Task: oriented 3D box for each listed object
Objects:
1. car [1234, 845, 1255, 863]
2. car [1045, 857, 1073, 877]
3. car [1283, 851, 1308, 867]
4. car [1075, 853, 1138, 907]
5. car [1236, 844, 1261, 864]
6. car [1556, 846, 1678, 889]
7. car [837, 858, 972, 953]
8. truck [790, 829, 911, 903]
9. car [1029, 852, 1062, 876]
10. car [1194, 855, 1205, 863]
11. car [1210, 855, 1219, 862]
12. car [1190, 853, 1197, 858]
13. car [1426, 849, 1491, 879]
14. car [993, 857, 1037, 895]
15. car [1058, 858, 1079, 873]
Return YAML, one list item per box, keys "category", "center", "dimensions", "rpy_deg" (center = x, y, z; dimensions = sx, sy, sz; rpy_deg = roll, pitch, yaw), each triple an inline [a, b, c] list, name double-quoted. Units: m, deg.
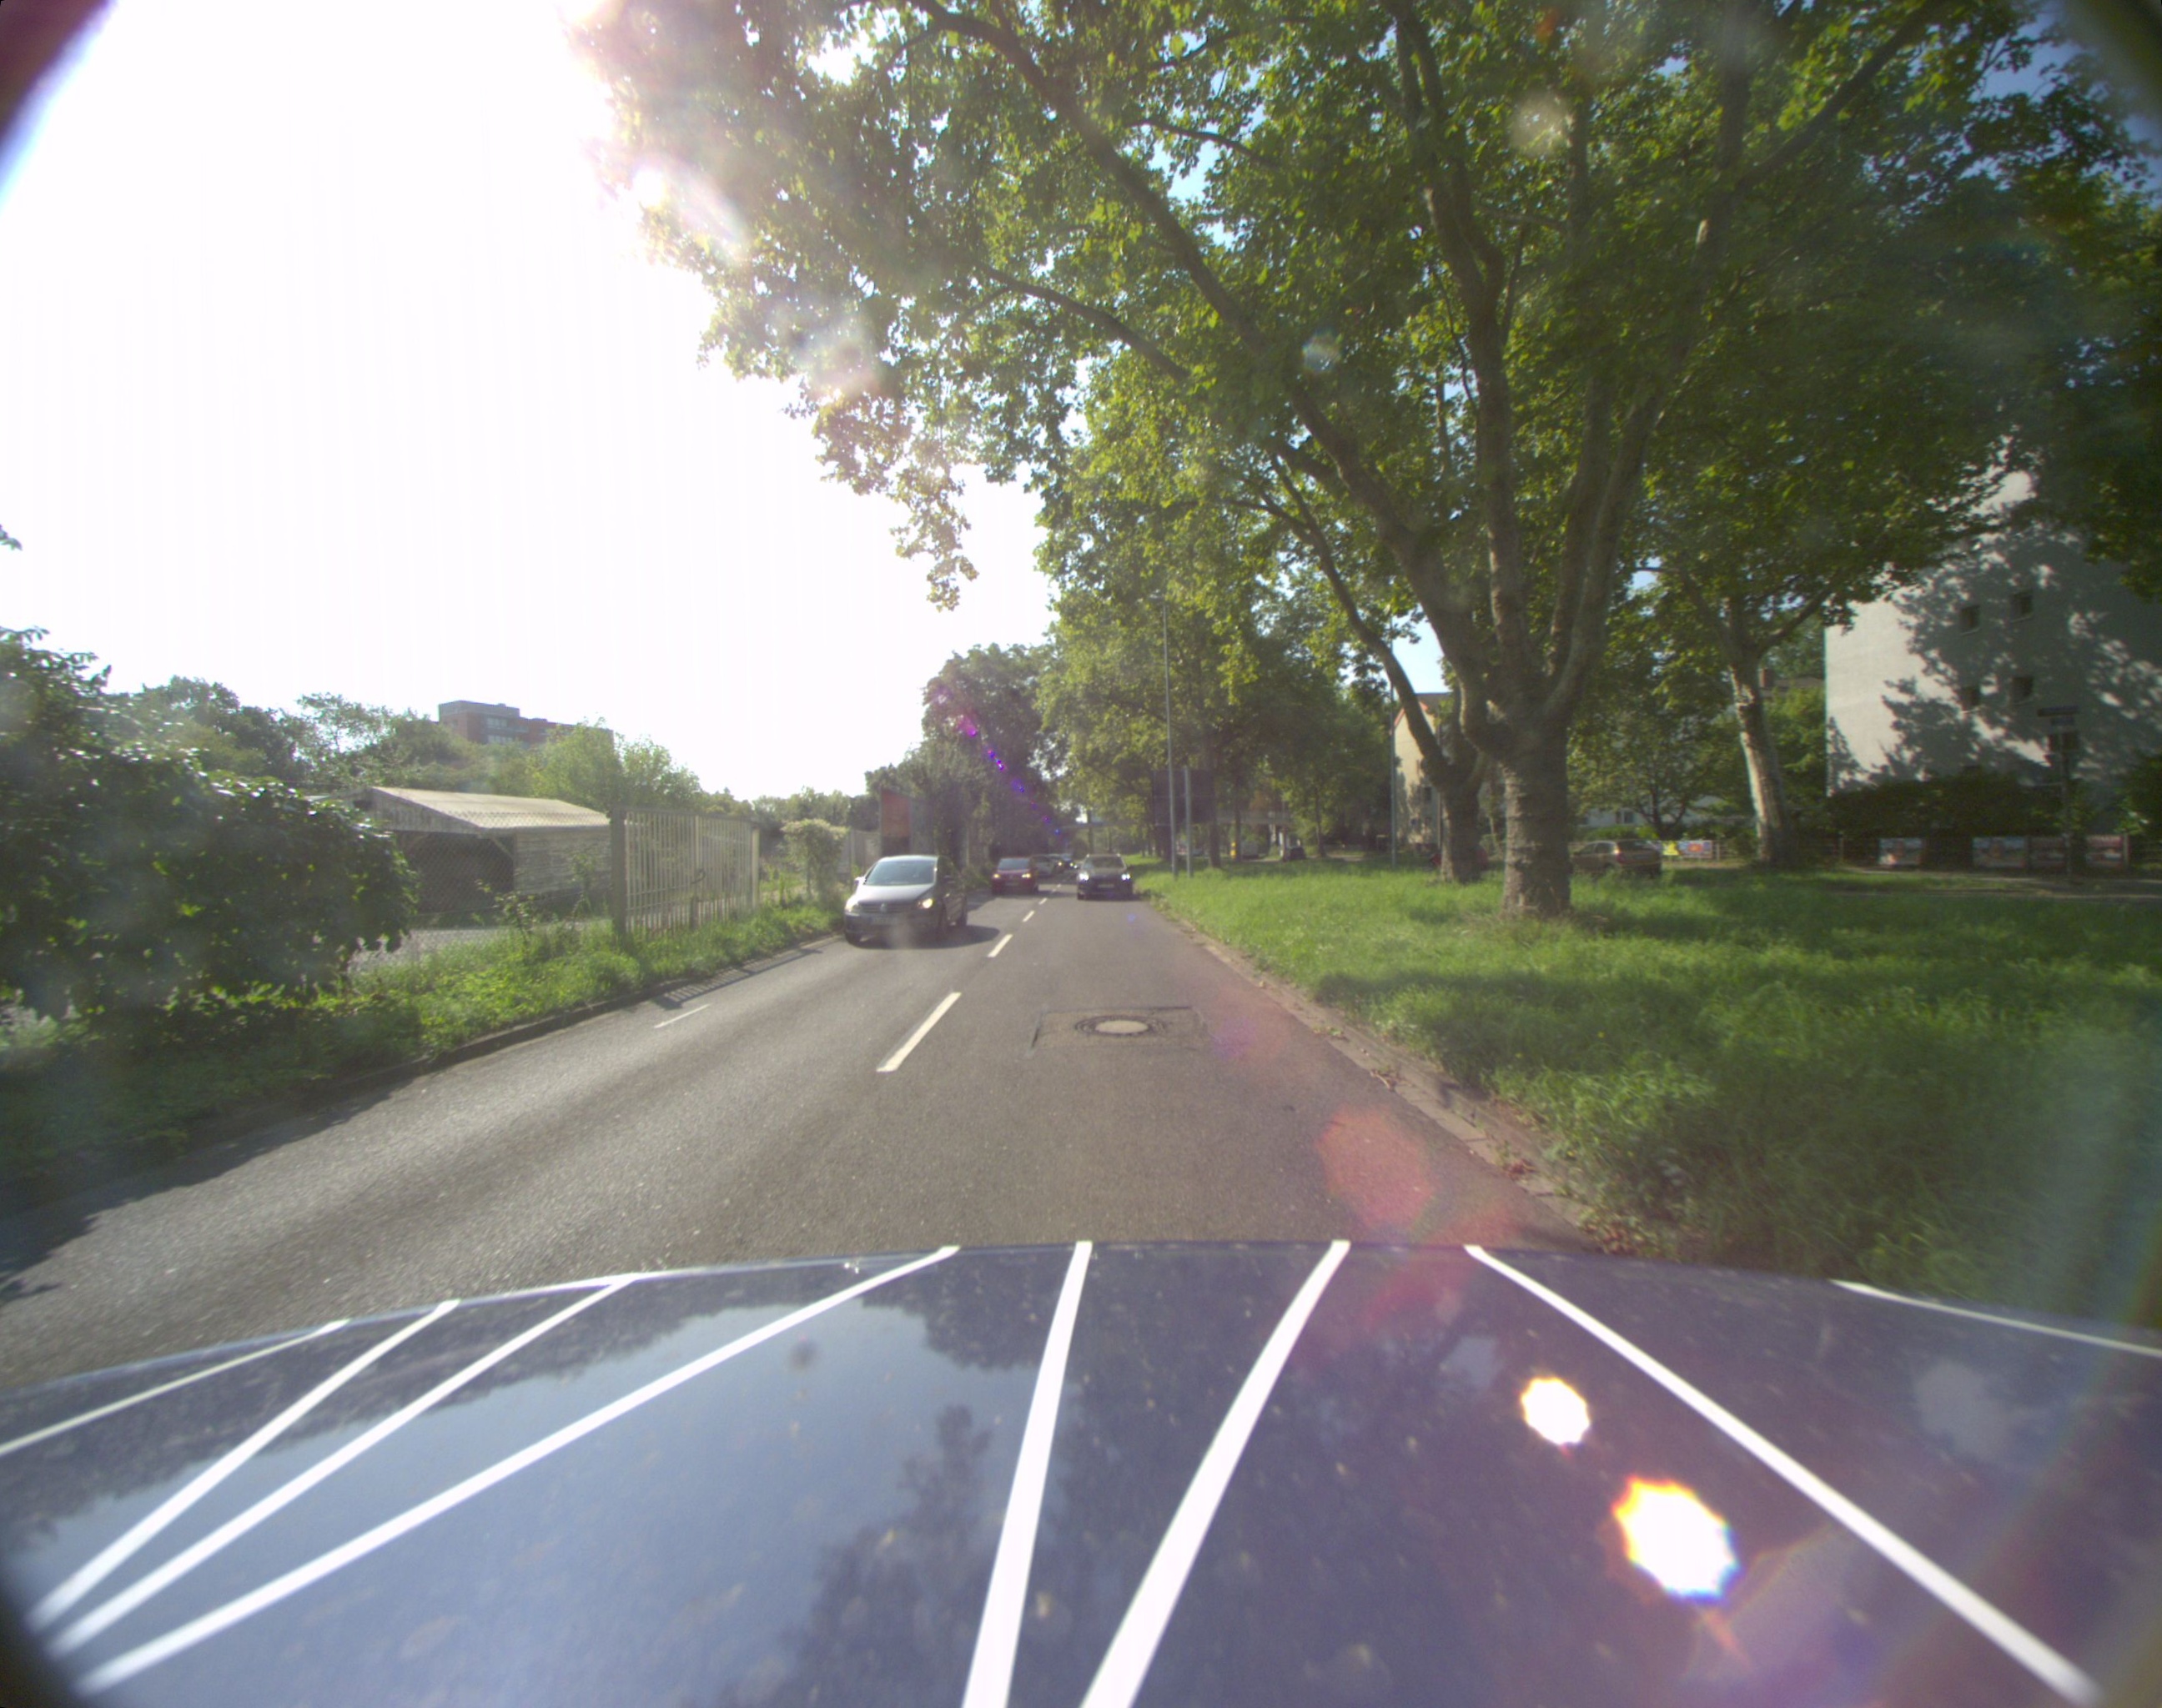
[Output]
- category: "car"
  center: [23.710, 0.014, 110.577]
  dimensions: [2.212, 2.465, 6.063]
  rpy_deg: [-2, 0, 6]
- category: "car"
  center: [-1.736, 1.001, 60.553]
  dimensions: [1.648, 1.467, 3.900]
  rpy_deg: [-2, 0, 6]
- category: "car"
  center: [21.391, 0.446, 75.872]
  dimensions: [1.526, 1.524, 3.864]
  rpy_deg: [-1, 0, 1]
- category: "car"
  center: [0.764, 0.795, 24.576]
  dimensions: [1.862, 1.572, 3.612]
  rpy_deg: [-1, -1, 0]
- category: "car"
  center: [22.637, -0.033, 102.727]
  dimensions: [2.213, 2.415, 6.267]
  rpy_deg: [-4, 0, 4]
- category: "car"
  center: [19.972, 0.486, 28.545]
  dimensions: [1.806, 1.421, 4.065]
  rpy_deg: [-3, 0, 2]
- category: "car"
  center: [-3.284, 0.884, 14.881]
  dimensions: [1.649, 1.547, 3.899]
  rpy_deg: [-1, 0, 1]
- category: "truck"
  center: [-7.976, 0.370, 27.185]
  dimensions: [1.919, 2.220, 6.913]
  rpy_deg: [-2, 0, 2]
- category: "car"
  center: [-2.324, 0.658, 50.740]
  dimensions: [1.649, 1.467, 3.900]
  rpy_deg: [-2, 0, 5]
- category: "car"
  center: [25.630, 1.163, 164.865]
  dimensions: [1.806, 1.709, 4.721]
  rpy_deg: [-1, 0, 2]
- category: "car"
  center: [30.020, 1.059, 170.803]
  dimensions: [1.648, 1.470, 3.900]
  rpy_deg: [-2, 0, 6]
- category: "car"
  center: [32.999, 0.447, 223.544]
  dimensions: [1.791, 1.524, 4.457]
  rpy_deg: [-2, 0, 5]
- category: "car"
  center: [19.946, 0.485, 40.302]
  dimensions: [1.542, 1.443, 4.065]
  rpy_deg: [-2, 0, 2]
- category: "car"
  center: [-2.600, 0.831, 30.568]
  dimensions: [1.579, 1.390, 3.471]
  rpy_deg: [-1, 0, -3]
- category: "car"
  center: [-1.216, 1.140, 77.285]
  dimensions: [1.648, 1.378, 3.900]
  rpy_deg: [-2, 0, 6]
